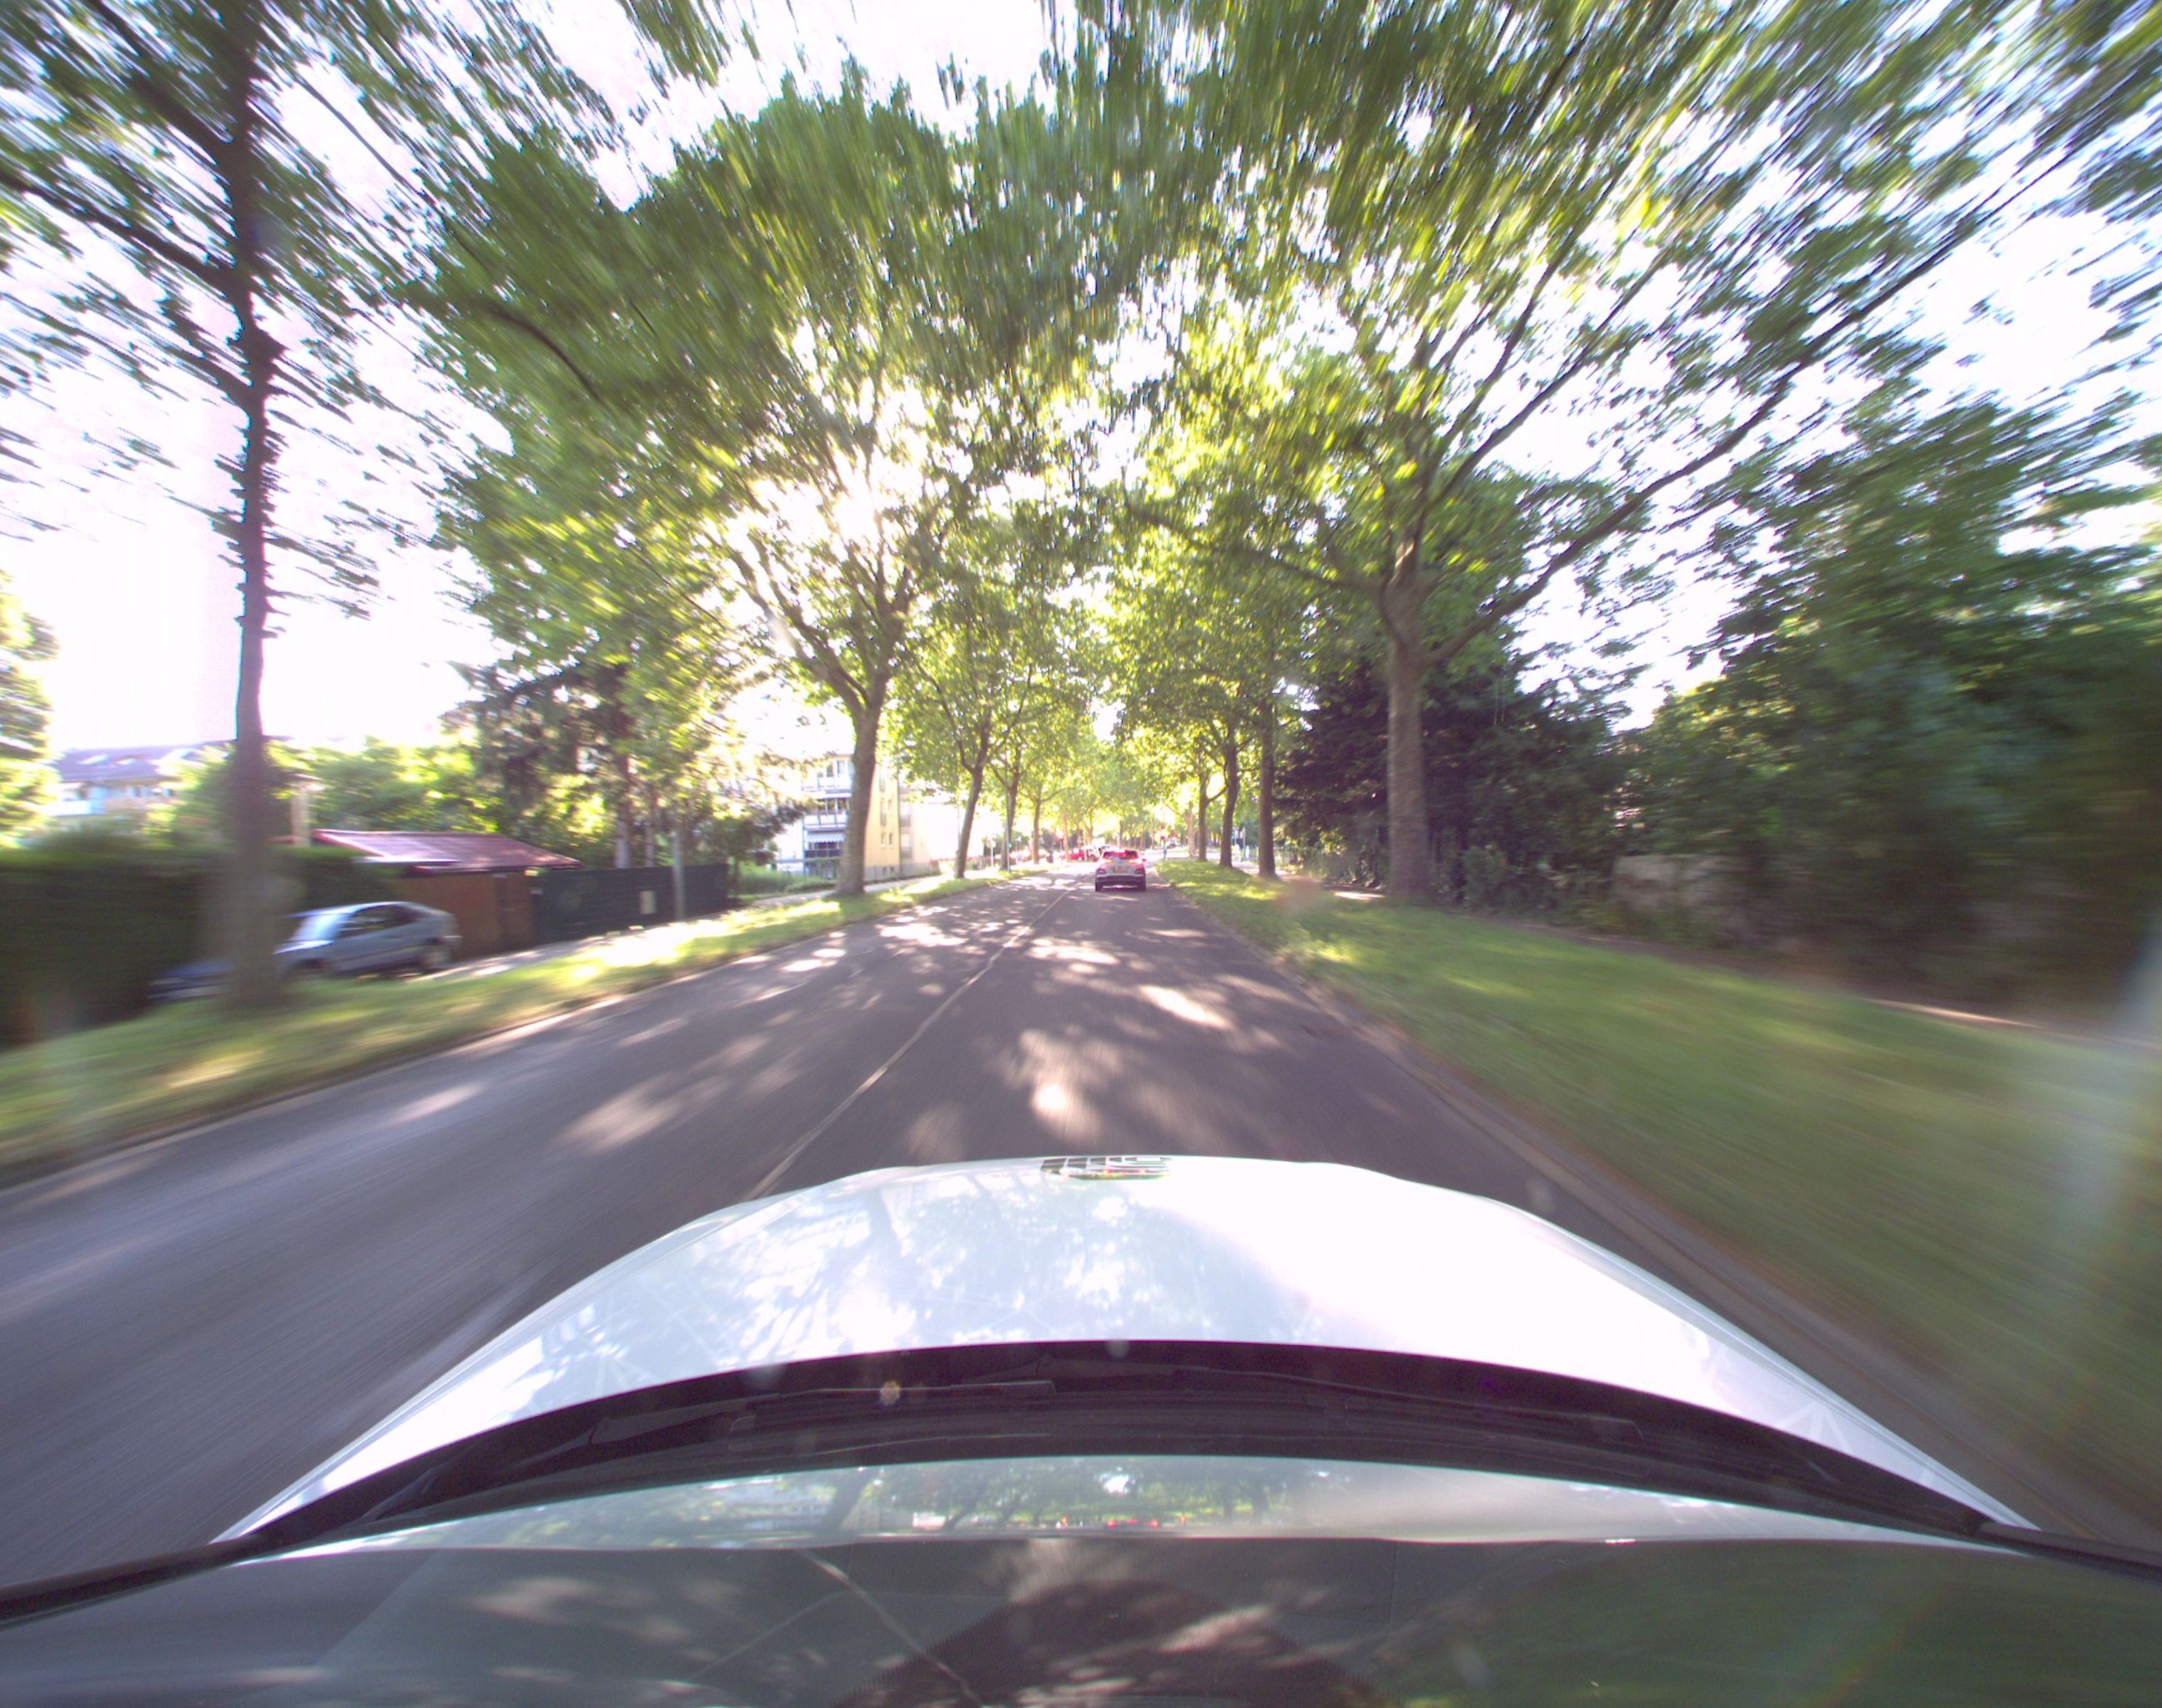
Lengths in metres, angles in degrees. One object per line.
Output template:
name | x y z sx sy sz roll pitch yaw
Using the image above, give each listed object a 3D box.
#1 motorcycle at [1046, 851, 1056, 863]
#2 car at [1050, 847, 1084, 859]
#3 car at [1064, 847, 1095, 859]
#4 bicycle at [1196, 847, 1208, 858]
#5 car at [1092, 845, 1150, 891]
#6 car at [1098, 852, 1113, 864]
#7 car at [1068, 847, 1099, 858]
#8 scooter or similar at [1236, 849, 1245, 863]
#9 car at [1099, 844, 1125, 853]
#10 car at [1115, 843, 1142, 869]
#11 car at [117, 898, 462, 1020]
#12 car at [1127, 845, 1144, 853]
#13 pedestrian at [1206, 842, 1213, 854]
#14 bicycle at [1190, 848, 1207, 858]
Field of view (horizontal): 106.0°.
motorcycle | -3.567 0.356 95.935 0.842 1.378 2.779 -1 0 4
car | -1.655 -0.093 100.372 3.968 1.478 2.003 -1 0 4
car | -0.147 -0.147 107.960 3.968 1.478 2.003 -1 0 4
bicycle | 13.941 -0.169 93.819 0.604 1.183 2.108 -1 0 -15
car | 1.533 0.486 30.351 1.985 1.574 4.004 -1 0 4
car | 3.153 0.465 102.516 1.680 1.437 3.687 -1 1 5
car | 0.400 -0.167 110.265 3.966 1.478 2.004 -1 0 7
scooter or similar | 14.577 0.161 74.545 0.546 1.258 2.316 -1 0 5
car | 4.926 -0.860 129.692 3.968 1.478 2.003 -1 0 4
car | 3.710 0.121 64.166 1.985 2.013 4.003 1 1 2
car | -12.571 1.574 13.382 1.747 1.304 3.998 -3 1 -2
car | 12.861 -1.251 191.343 3.663 1.808 1.746 -1 0 -5
pedestrian | 21.426 -0.963 135.594 1.088 2.013 1.108 1 0 11
bicycle | 13.331 -0.111 92.595 0.608 1.164 2.125 0 0 -39
